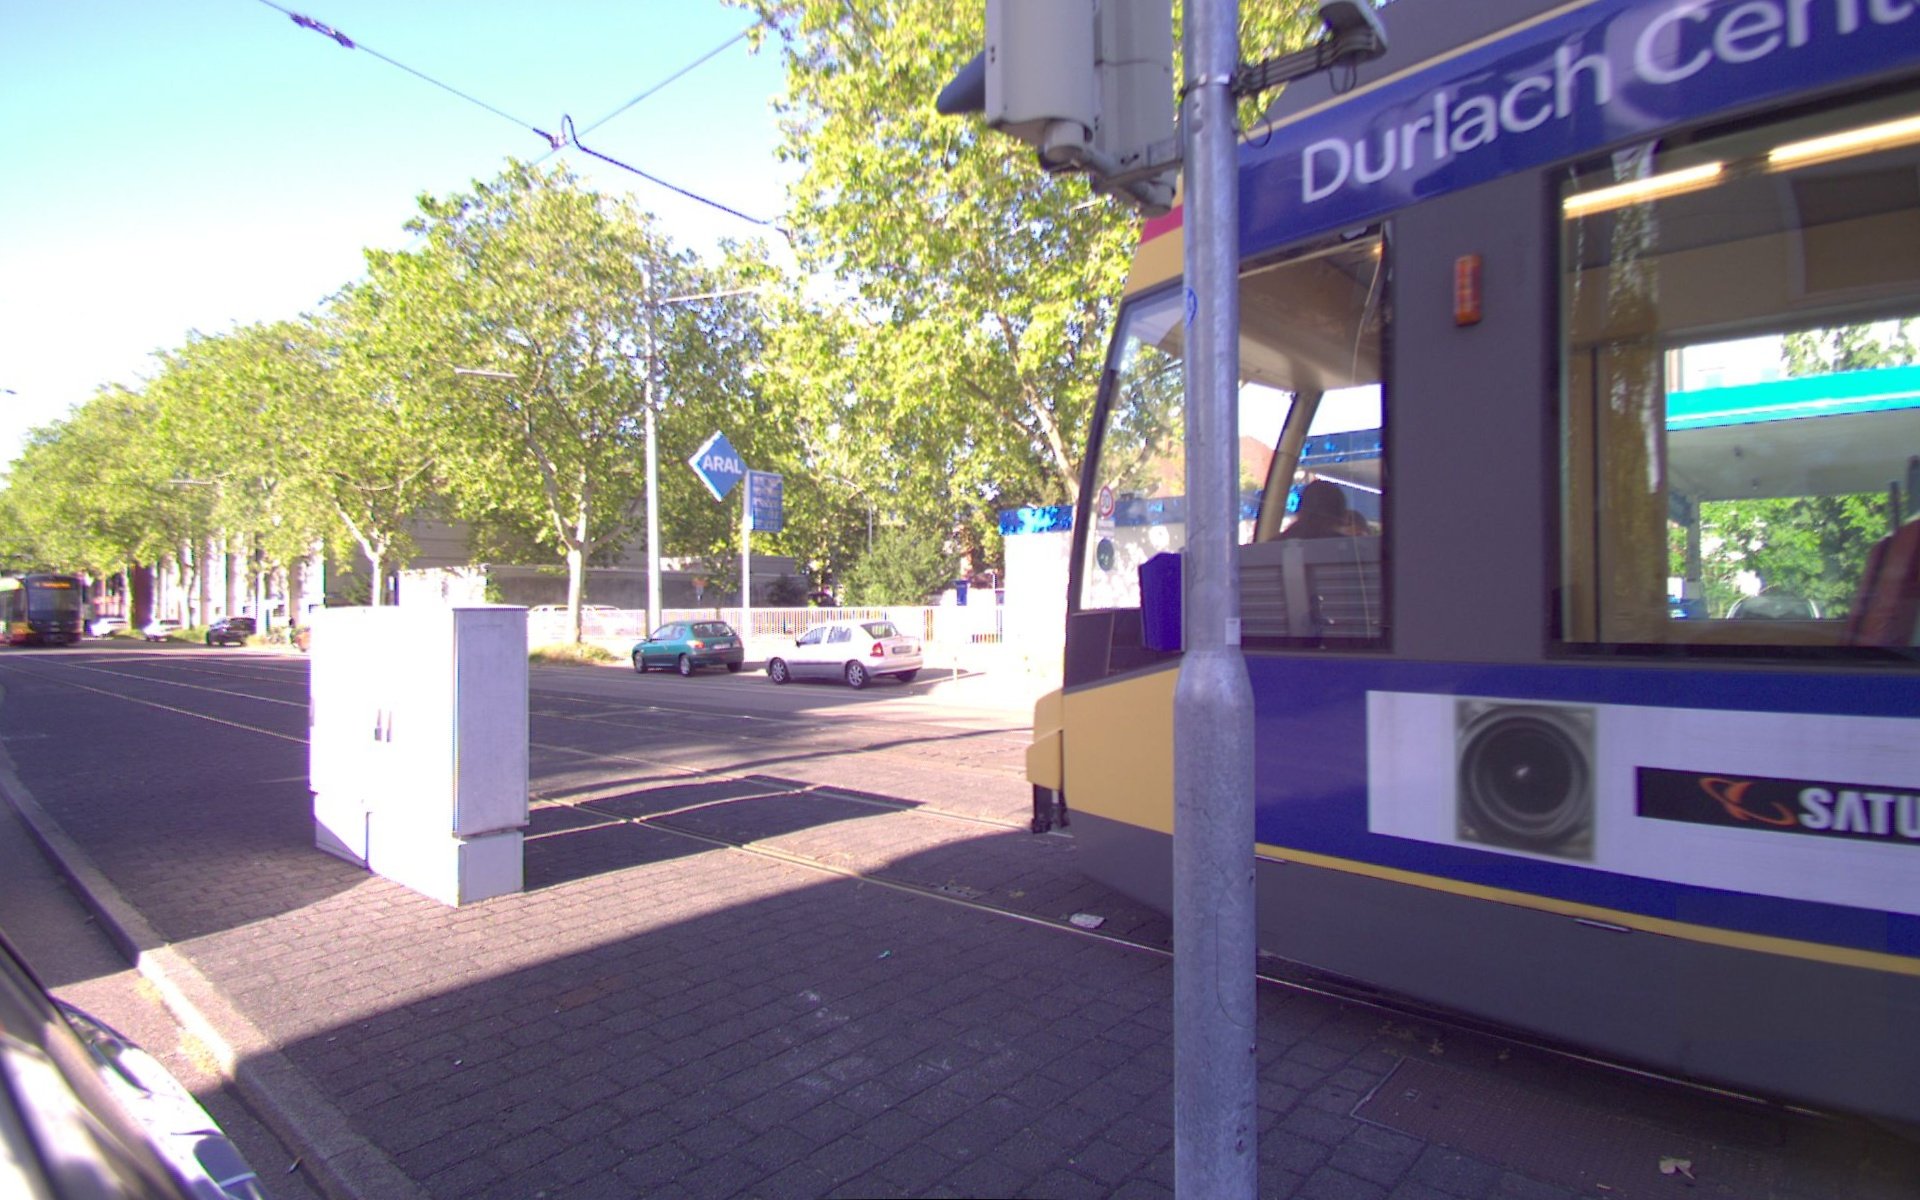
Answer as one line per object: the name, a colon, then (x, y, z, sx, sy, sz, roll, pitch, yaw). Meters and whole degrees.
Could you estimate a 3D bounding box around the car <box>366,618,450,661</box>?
car: (-21.959, 1.525, 40.172, 4.002, 1.545, 1.820, -1, 1, 45)

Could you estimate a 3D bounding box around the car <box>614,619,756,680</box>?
car: (-7.424, 1.262, 27.120, 4.138, 1.418, 1.820, -1, 1, 45)

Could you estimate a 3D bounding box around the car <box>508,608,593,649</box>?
car: (-17.128, 1.180, 42.266, 4.002, 1.545, 1.820, -1, 1, 45)

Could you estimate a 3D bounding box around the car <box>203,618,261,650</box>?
car: (-40.650, 1.867, 56.467, 4.098, 1.628, 1.821, -1, 1, 44)

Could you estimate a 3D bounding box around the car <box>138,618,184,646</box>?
car: (-53.833, 2.140, 68.192, 4.098, 1.686, 1.821, -1, 1, 44)

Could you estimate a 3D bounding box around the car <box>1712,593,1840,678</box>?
car: (15.951, 0.654, 19.750, 1.780, 1.475, 3.946, -1, -1, 40)

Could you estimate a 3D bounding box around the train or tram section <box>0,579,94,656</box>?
train or tram section: (-45.924, 0.817, 50.358, 10.177, 3.503, 2.825, -1, 0, 41)

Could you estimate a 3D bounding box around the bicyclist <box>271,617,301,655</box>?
bicyclist: (-34.049, 1.806, 51.155, 1.055, 1.878, 0.721, 0, -1, -3)

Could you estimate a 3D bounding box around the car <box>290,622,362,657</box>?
car: (-28.959, 1.757, 46.166, 4.001, 1.418, 1.821, -1, 1, 44)

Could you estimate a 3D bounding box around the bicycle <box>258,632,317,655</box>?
bicycle: (-33.964, 2.216, 51.144, 2.496, 1.129, 0.655, 0, -1, -2)

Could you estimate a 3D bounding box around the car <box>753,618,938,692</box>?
car: (-2.617, 1.165, 22.630, 3.997, 1.418, 1.823, -1, 1, 40)

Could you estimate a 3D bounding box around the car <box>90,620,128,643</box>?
car: (-66.937, 2.466, 79.565, 4.098, 1.686, 1.821, -1, 1, 44)

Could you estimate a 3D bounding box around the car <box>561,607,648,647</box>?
car: (-15.387, 1.156, 43.758, 3.999, 1.545, 1.822, -1, 1, 42)

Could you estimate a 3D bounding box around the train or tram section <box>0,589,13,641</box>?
train or tram section: (-68.690, 1.068, 70.636, 10.179, 3.503, 2.806, -1, 0, 41)

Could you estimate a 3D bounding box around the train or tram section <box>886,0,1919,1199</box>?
train or tram section: (3.624, -0.499, 2.444, 7.957, 3.526, 2.785, -2, -2, 41)

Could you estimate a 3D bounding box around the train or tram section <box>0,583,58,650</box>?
train or tram section: (-53.542, 0.911, 57.087, 10.179, 3.503, 2.806, -1, 0, 42)

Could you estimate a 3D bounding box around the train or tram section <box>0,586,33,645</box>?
train or tram section: (-61.073, 0.987, 63.833, 10.179, 3.503, 2.806, -1, 0, 41)
